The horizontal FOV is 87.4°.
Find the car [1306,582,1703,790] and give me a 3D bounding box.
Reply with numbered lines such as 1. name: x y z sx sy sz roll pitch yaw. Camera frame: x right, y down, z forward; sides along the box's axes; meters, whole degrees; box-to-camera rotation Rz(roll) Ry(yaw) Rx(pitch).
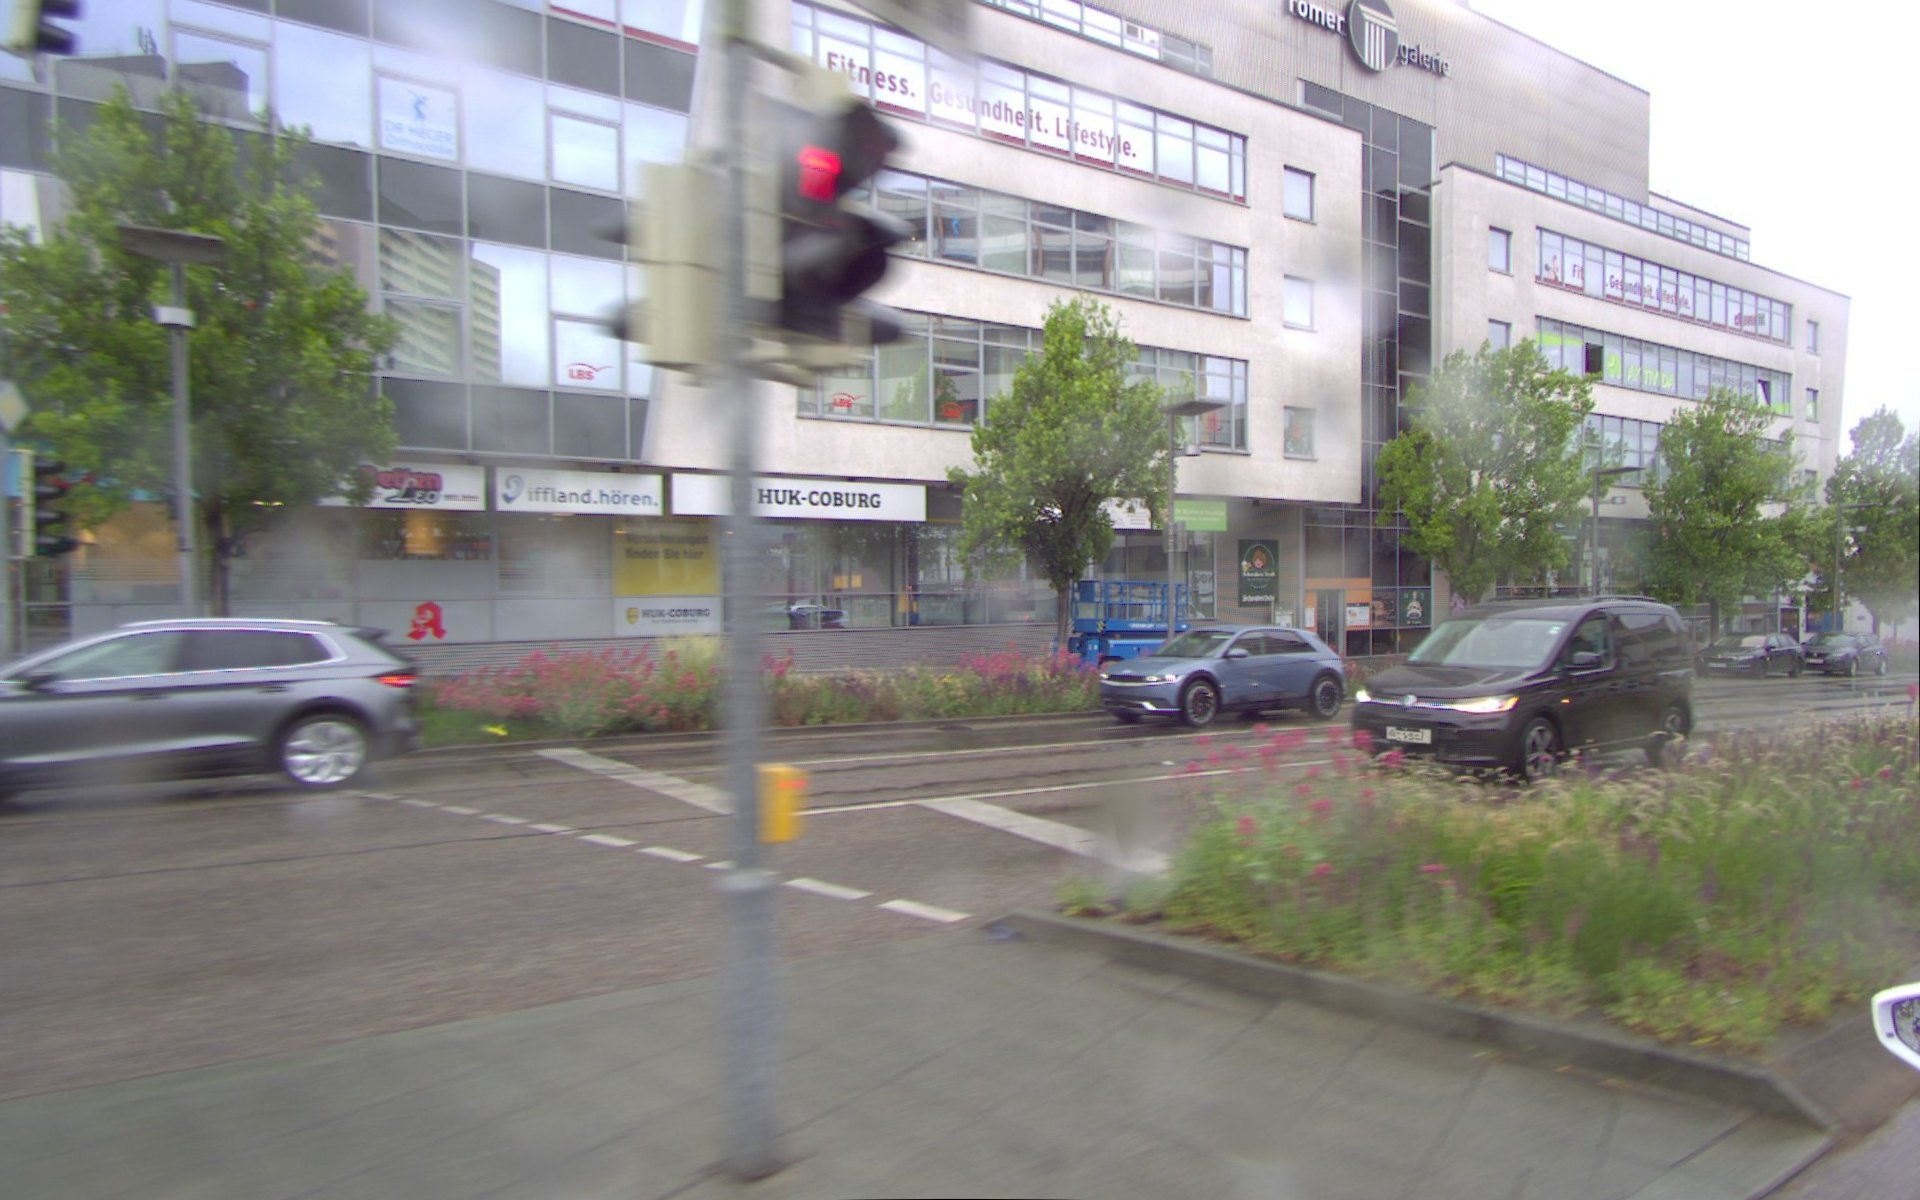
1. car: 5.983 0.812 10.935 4.251 1.847 1.983 0 -2 -32

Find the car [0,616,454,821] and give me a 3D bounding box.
1. car: -7.265 1.026 9.362 4.470 1.614 1.868 0 -4 -30

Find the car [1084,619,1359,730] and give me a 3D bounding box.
1. car: 4.471 1.202 16.995 4.533 1.614 1.766 0 -4 -30
